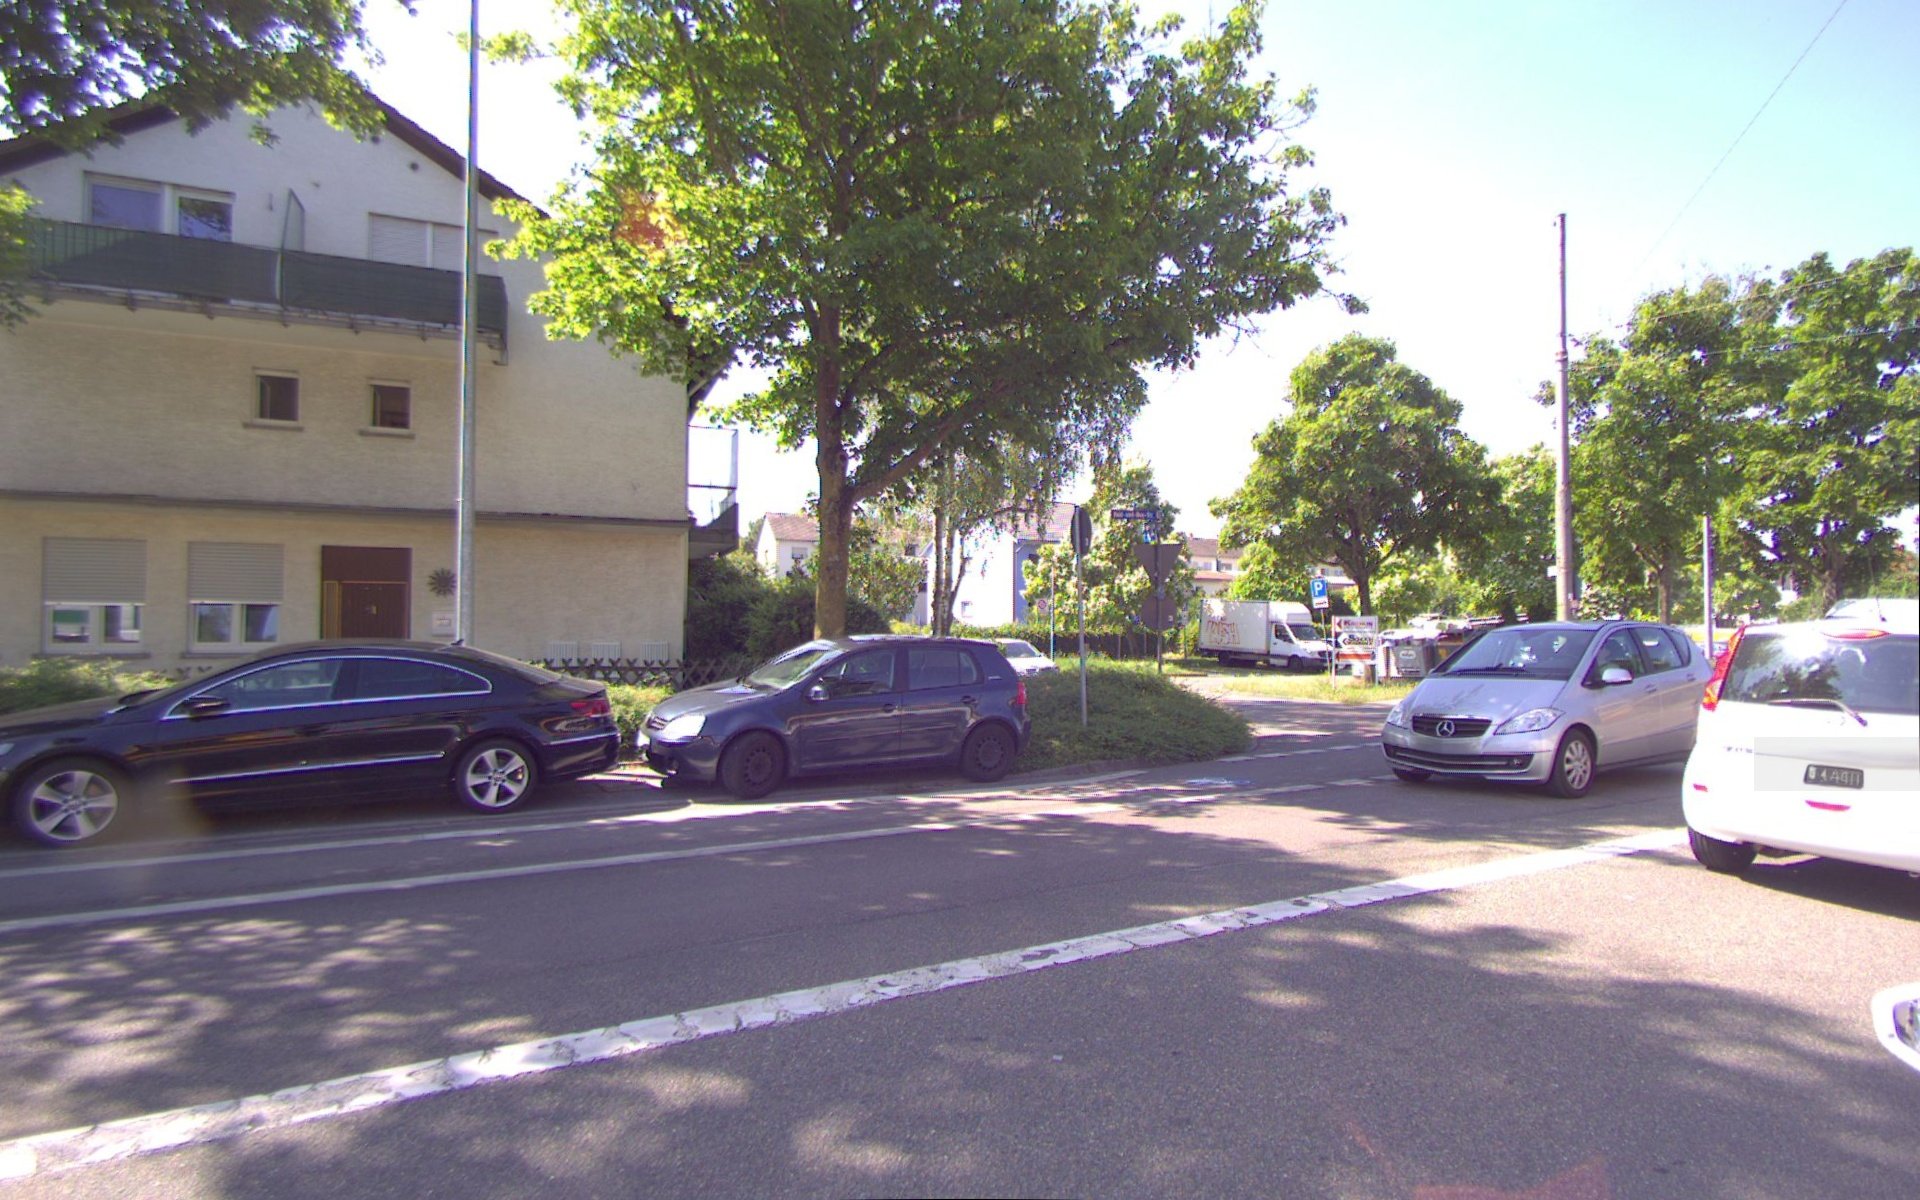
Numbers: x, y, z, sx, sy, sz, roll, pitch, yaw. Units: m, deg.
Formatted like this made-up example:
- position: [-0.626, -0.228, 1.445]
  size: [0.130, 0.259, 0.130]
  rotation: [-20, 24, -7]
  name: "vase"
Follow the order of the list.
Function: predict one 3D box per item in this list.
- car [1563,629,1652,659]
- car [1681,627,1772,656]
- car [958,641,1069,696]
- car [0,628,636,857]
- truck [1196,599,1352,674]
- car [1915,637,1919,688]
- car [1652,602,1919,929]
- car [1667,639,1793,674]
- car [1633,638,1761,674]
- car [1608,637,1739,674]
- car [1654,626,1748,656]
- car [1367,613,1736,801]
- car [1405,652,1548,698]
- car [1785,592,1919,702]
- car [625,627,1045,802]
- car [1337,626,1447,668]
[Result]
- position: [44.559, 2.993, 69.241]
  size: [2.043, 1.811, 4.762]
  rotation: [2, 0, -33]
  name: "car"
- position: [54.467, 2.910, 71.482]
  size: [2.043, 1.811, 4.762]
  rotation: [2, 0, -33]
  name: "car"
- position: [1.424, 1.922, 28.416]
  size: [1.704, 1.434, 3.983]
  rotation: [1, -3, -20]
  name: "car"
- position: [-5.244, 1.003, 8.360]
  size: [4.568, 1.434, 1.854]
  rotation: [1, 0, -31]
  name: "car"
- position: [14.442, 1.587, 46.804]
  size: [2.646, 3.151, 6.967]
  rotation: [1, 0, -30]
  name: "truck"
- position: [29.414, 1.823, 28.785]
  size: [4.230, 1.434, 1.854]
  rotation: [1, 0, -31]
  name: "car"
- position: [6.404, 0.842, 6.258]
  size: [4.491, 1.568, 1.655]
  rotation: [1, -1, -29]
  name: "car"
- position: [33.186, 2.450, 43.406]
  size: [1.712, 1.434, 3.964]
  rotation: [2, -4, -33]
  name: "car"
- position: [30.763, 2.337, 42.038]
  size: [1.712, 1.434, 3.964]
  rotation: [2, -4, -33]
  name: "car"
- position: [28.851, 2.246, 40.739]
  size: [1.712, 1.434, 3.964]
  rotation: [2, -4, -33]
  name: "car"
- position: [50.549, 2.777, 68.632]
  size: [2.043, 1.811, 4.762]
  rotation: [2, 0, -33]
  name: "car"
- position: [5.954, 0.976, 10.067]
  size: [3.538, 1.573, 1.668]
  rotation: [1, -3, -31]
  name: "car"
- position: [17.339, 2.491, 33.863]
  size: [1.712, 1.434, 3.964]
  rotation: [2, -4, -33]
  name: "car"
- position: [23.804, 1.144, 25.734]
  size: [5.745, 2.550, 2.114]
  rotation: [1, 0, -29]
  name: "car"
- position: [-1.272, 1.061, 10.460]
  size: [3.988, 1.462, 1.718]
  rotation: [1, 0, -28]
  name: "car"
- position: [21.699, 2.326, 50.655]
  size: [2.043, 1.811, 4.762]
  rotation: [2, 0, -33]
  name: "car"
